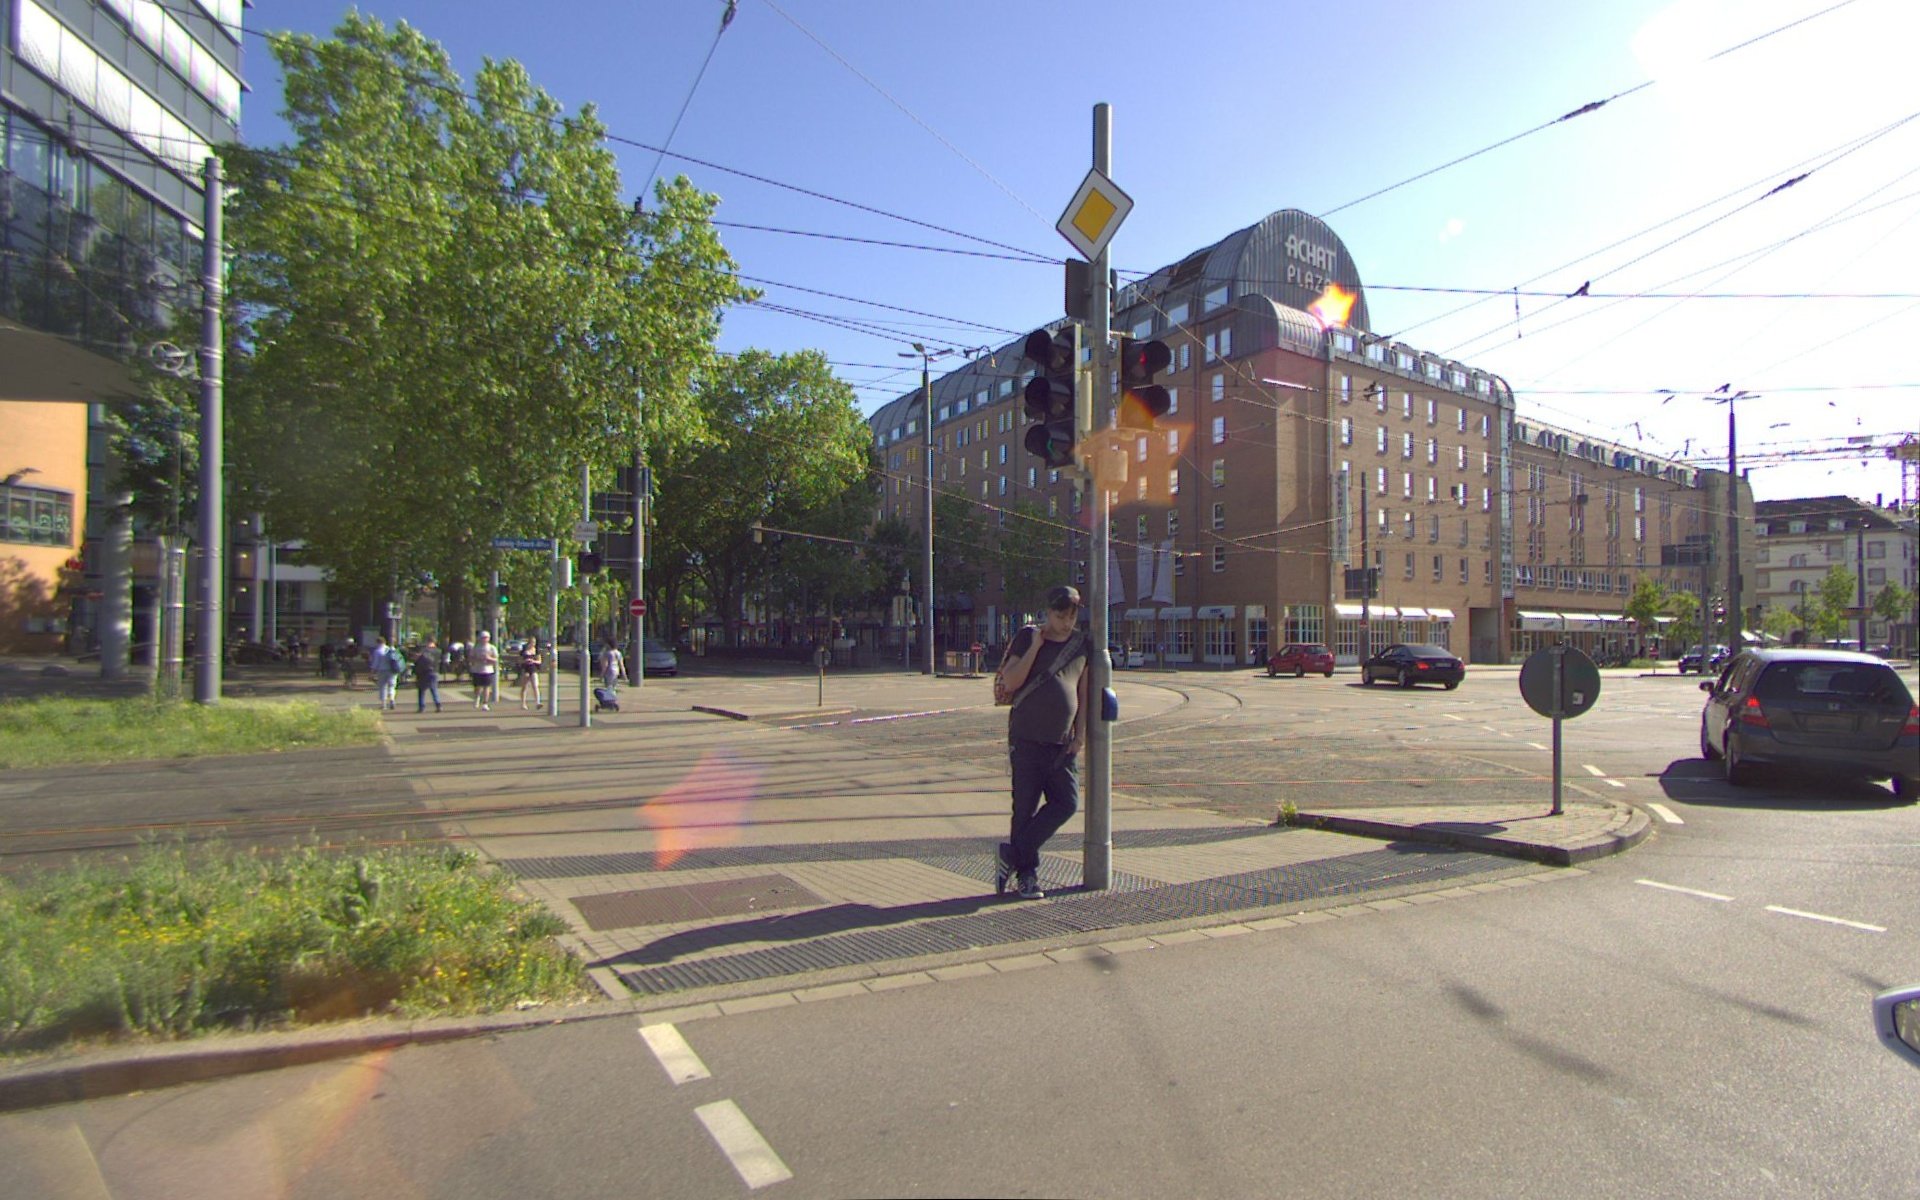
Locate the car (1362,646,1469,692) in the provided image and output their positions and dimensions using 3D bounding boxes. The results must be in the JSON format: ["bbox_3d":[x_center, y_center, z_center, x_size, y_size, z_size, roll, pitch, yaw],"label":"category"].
[{"bbox_3d":[15.699,2.360,34.902,1.698,1.468,4.523,0,-2,1],"label":"car"}]

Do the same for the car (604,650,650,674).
[{"bbox_3d":[-17.277,3.195,52.034,1.758,1.158,3.975,1,-2,-26],"label":"car"}]

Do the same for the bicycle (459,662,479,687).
[{"bbox_3d":[-17.132,2.588,35.033,0.372,0.809,2.012,2,-3,-33],"label":"bicycle"}]

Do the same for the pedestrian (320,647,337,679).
[{"bbox_3d":[-26.355,2.622,41.927,0.542,1.310,0.426,1,-2,-34],"label":"pedestrian"}]

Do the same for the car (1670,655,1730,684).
[{"bbox_3d":[41.388,3.880,56.143,3.884,1.415,1.598,1,-6,-38],"label":"car"}]

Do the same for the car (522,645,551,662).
[{"bbox_3d":[-30.213,3.784,71.590,1.758,1.158,3.975,1,-2,-26],"label":"car"}]

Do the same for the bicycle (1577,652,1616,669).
[{"bbox_3d":[49.153,4.664,77.613,0.724,1.327,2.476,1,-2,-27],"label":"bicycle"}]

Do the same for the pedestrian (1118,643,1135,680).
[{"bbox_3d":[8.880,3.266,53.508,0.745,1.957,0.519,2,-2,-38],"label":"pedestrian"}]

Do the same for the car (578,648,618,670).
[{"bbox_3d":[-20.781,3.360,57.531,1.758,1.158,3.975,1,-2,-26],"label":"car"}]

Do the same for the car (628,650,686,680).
[{"bbox_3d":[-14.141,3.002,46.725,1.973,1.247,3.975,1,-2,-26],"label":"car"}]

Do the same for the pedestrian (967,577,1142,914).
[{"bbox_3d":[0.543,0.786,5.818,0.762,1.776,0.665,2,-2,-38],"label":"pedestrian"}]

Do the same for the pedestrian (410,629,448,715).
[{"bbox_3d":[-11.743,1.579,22.213,0.571,1.855,0.497,-1,-2,27],"label":"pedestrian"}]

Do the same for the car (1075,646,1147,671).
[{"bbox_3d":[8.873,3.425,59.349,2.041,1.399,4.381,1,-3,-28],"label":"car"}]

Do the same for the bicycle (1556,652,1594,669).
[{"bbox_3d":[47.553,4.665,77.693,0.724,1.327,2.476,1,-2,-27],"label":"bicycle"}]

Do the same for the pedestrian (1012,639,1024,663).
[{"bbox_3d":[4.755,4.242,82.969,0.825,1.957,0.555,2,-3,-35],"label":"pedestrian"}]

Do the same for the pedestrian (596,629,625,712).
[{"bbox_3d":[-7.897,1.576,22.713,0.380,1.855,0.462,-1,-2,33],"label":"pedestrian"}]

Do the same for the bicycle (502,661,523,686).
[{"bbox_3d":[-16.206,2.651,36.380,0.372,0.809,2.012,2,-3,-33],"label":"bicycle"}]

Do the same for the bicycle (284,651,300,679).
[{"bbox_3d":[-34.245,3.324,51.493,0.462,1.370,2.346,2,-3,-38],"label":"bicycle"}]

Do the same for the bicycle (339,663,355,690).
[{"bbox_3d":[-19.998,2.485,32.754,0.372,0.809,2.012,2,-3,-33],"label":"bicycle"}]

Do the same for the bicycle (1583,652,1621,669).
[{"bbox_3d":[49.887,4.688,78.108,0.724,1.327,2.476,1,-2,-27],"label":"bicycle"}]

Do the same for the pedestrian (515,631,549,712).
[{"bbox_3d":[-9.989,1.659,23.480,0.614,1.855,0.761,1,-2,-16],"label":"pedestrian"}]

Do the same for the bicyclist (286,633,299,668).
[{"bbox_3d":[-34.234,2.589,51.513,0.462,1.744,0.480,2,-2,-39],"label":"bicyclist"}]

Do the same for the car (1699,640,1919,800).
[{"bbox_3d":[9.942,1.270,11.895,1.703,1.584,3.667,-1,-3,33],"label":"car"}]

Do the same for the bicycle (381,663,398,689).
[{"bbox_3d":[-19.169,2.541,33.736,0.372,0.809,2.012,2,-3,-33],"label":"bicycle"}]

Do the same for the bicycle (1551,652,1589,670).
[{"bbox_3d":[46.598,4.622,76.787,0.724,1.327,2.476,1,-2,-27],"label":"bicycle"}]

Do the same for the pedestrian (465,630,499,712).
[{"bbox_3d":[-11.110,1.639,23.371,0.615,1.855,0.760,1,-2,-20],"label":"pedestrian"}]

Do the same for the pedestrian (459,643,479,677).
[{"bbox_3d":[-21.648,2.634,44.292,0.491,1.471,0.649,0,-2,1],"label":"pedestrian"}]

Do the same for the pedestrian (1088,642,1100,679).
[{"bbox_3d":[7.215,3.255,54.164,0.519,1.957,0.523,0,-2,-11],"label":"pedestrian"}]

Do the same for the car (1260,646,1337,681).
[{"bbox_3d":[15.068,2.799,44.877,1.630,1.468,3.577,1,-2,-12],"label":"car"}]

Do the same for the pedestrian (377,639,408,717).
[{"bbox_3d":[-13.749,1.877,24.336,0.453,1.855,0.458,-1,-2,27],"label":"pedestrian"}]

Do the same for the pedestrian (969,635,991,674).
[{"bbox_3d":[1.043,2.793,51.757,0.897,1.957,0.696,2,-3,-38],"label":"pedestrian"}]
